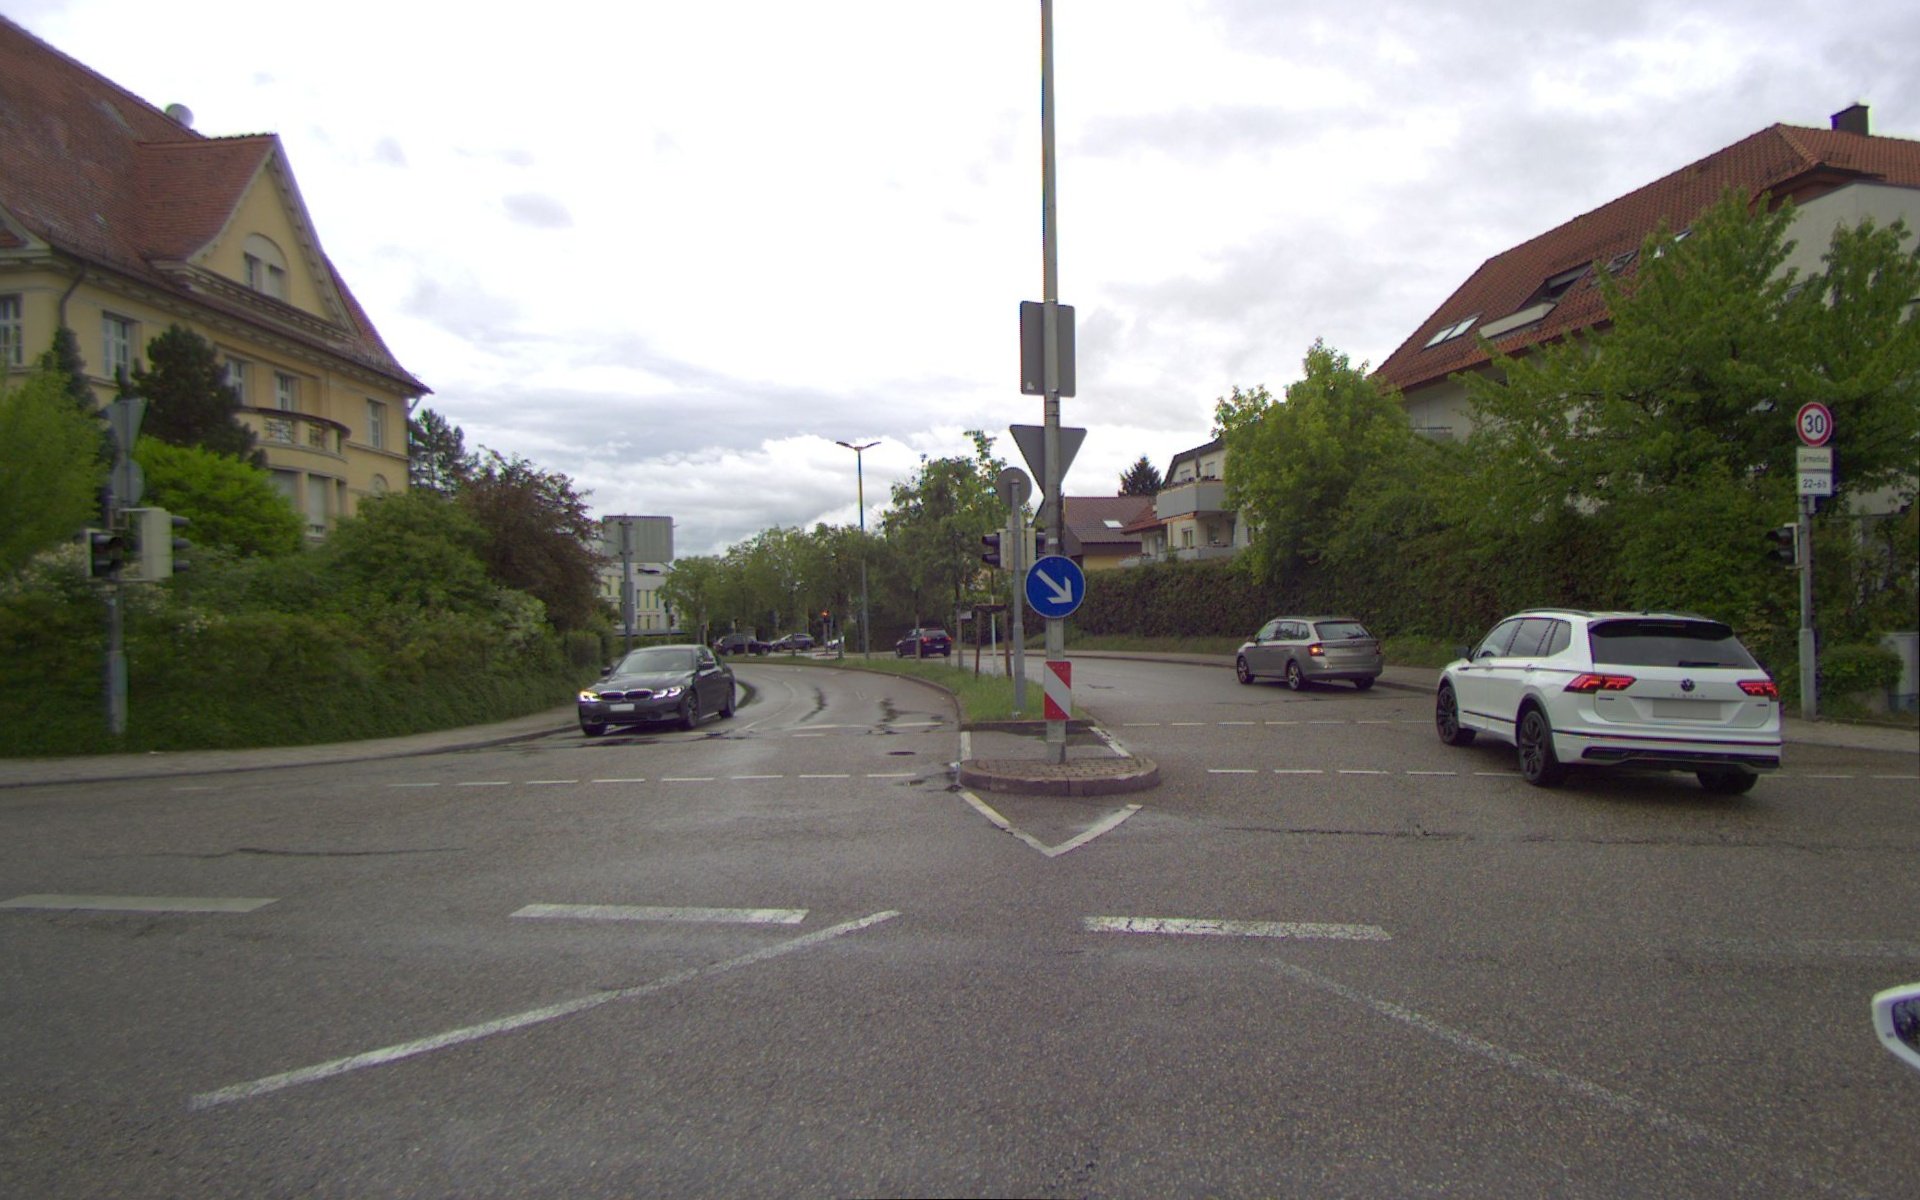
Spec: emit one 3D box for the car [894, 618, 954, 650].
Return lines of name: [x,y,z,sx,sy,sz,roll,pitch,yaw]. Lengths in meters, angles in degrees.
car: [-1.887,1.785,51.628,1.742,1.498,3.978,0,-3,-24]

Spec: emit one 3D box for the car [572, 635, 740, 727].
car: [-5.287,1.385,18.086,1.742,1.411,4.435,-1,-3,-1]

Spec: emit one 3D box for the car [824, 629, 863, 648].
car: [-11.092,3.638,95.193,3.614,1.810,1.729,0,0,-9]

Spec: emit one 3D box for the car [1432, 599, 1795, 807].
car: [6.505,0.864,10.626,1.733,1.718,4.275,0,0,11]

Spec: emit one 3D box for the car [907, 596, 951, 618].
car: [-2.622,0.576,84.490,3.353,1.836,1.646,0,0,-26]

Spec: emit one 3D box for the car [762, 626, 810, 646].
car: [-16.117,3.311,92.925,4.027,1.547,1.717,-3,2,-27]

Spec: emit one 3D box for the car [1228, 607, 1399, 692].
car: [7.269,0.953,21.078,1.771,1.610,3.920,0,0,-8]

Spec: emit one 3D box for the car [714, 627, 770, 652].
car: [-17.208,3.091,79.391,4.027,1.921,1.717,0,0,-27]
